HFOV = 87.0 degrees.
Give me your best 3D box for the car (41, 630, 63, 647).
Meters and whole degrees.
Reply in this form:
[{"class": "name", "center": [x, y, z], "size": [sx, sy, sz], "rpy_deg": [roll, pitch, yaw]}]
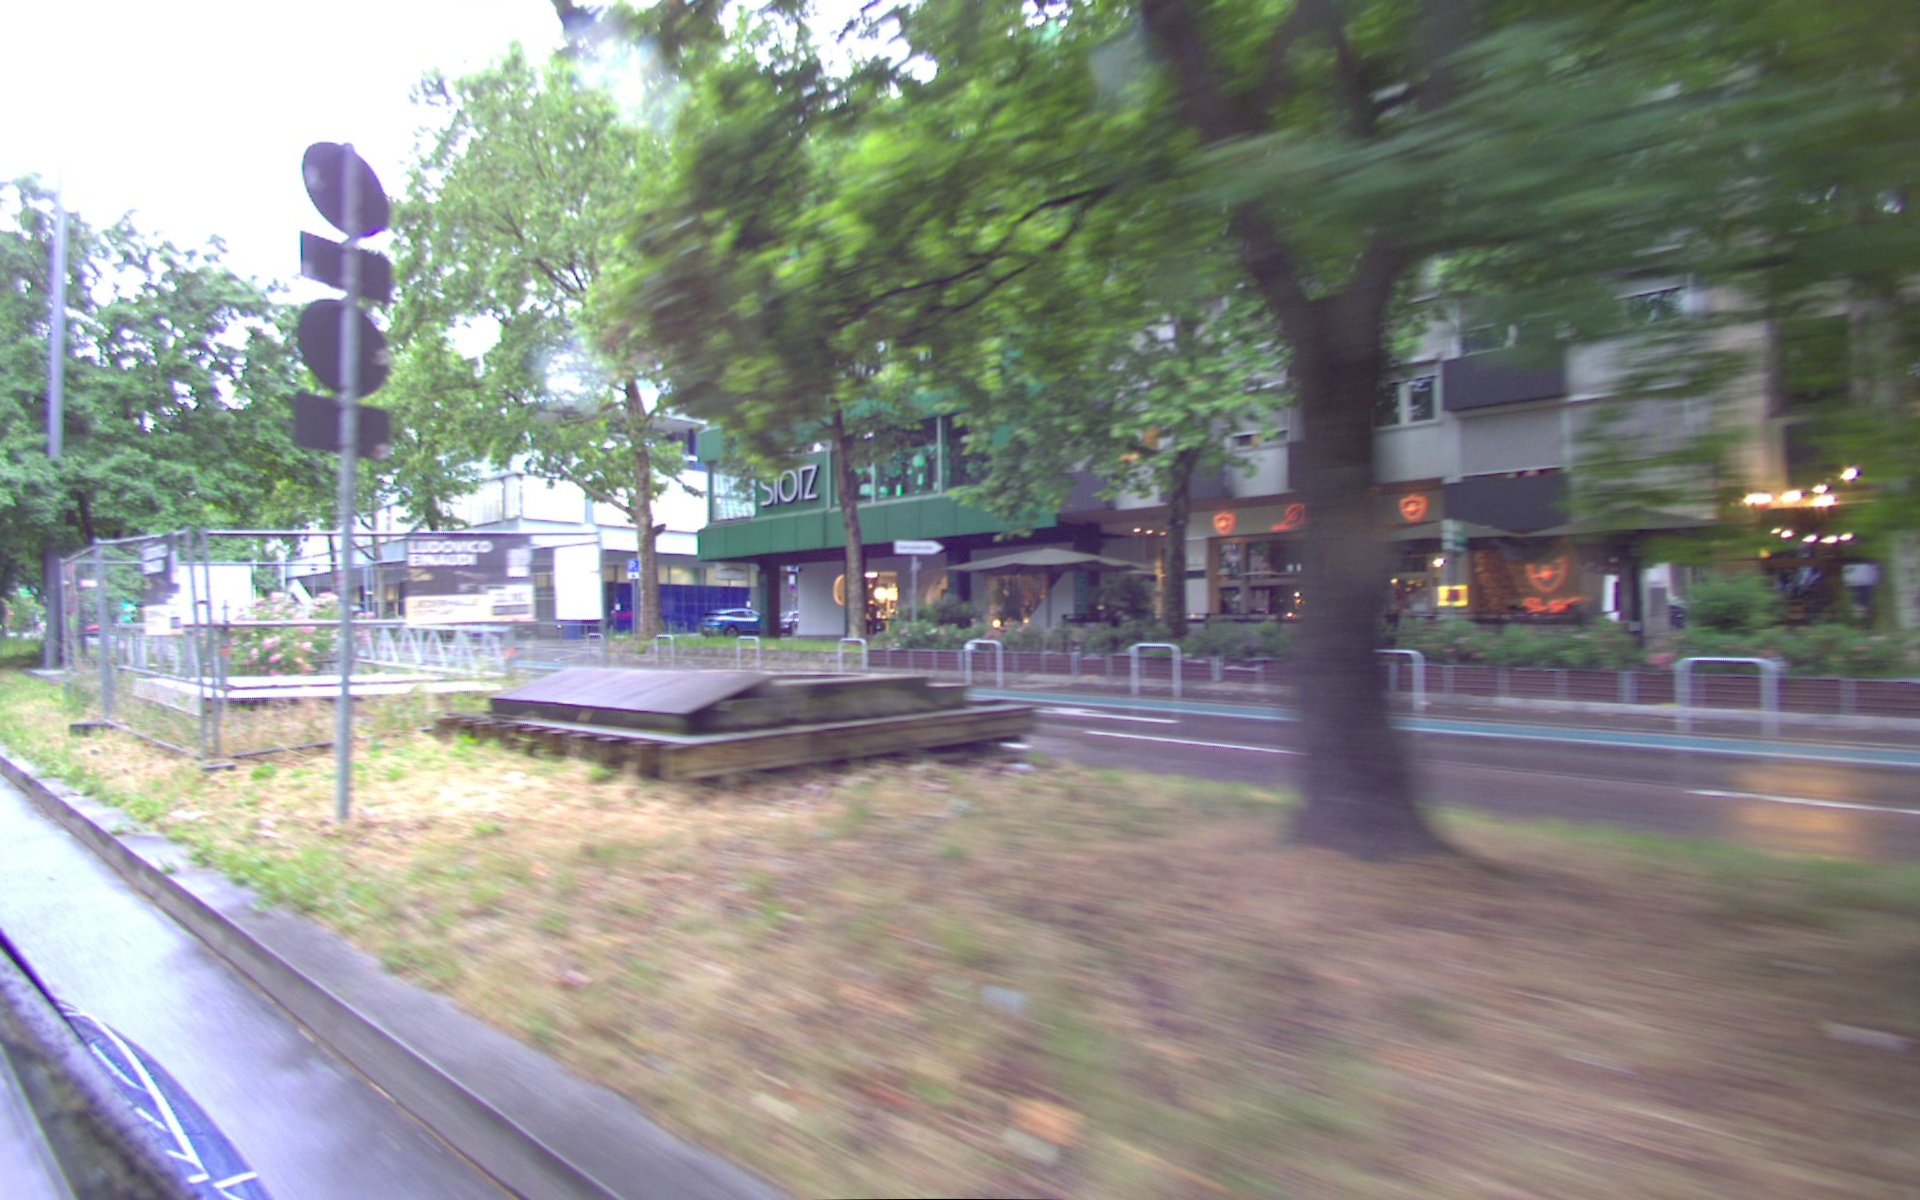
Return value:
[{"class": "car", "center": [-83.026, 3.510, 92.533], "size": [3.561, 1.473, 1.148], "rpy_deg": [-2, -2, 43]}]
